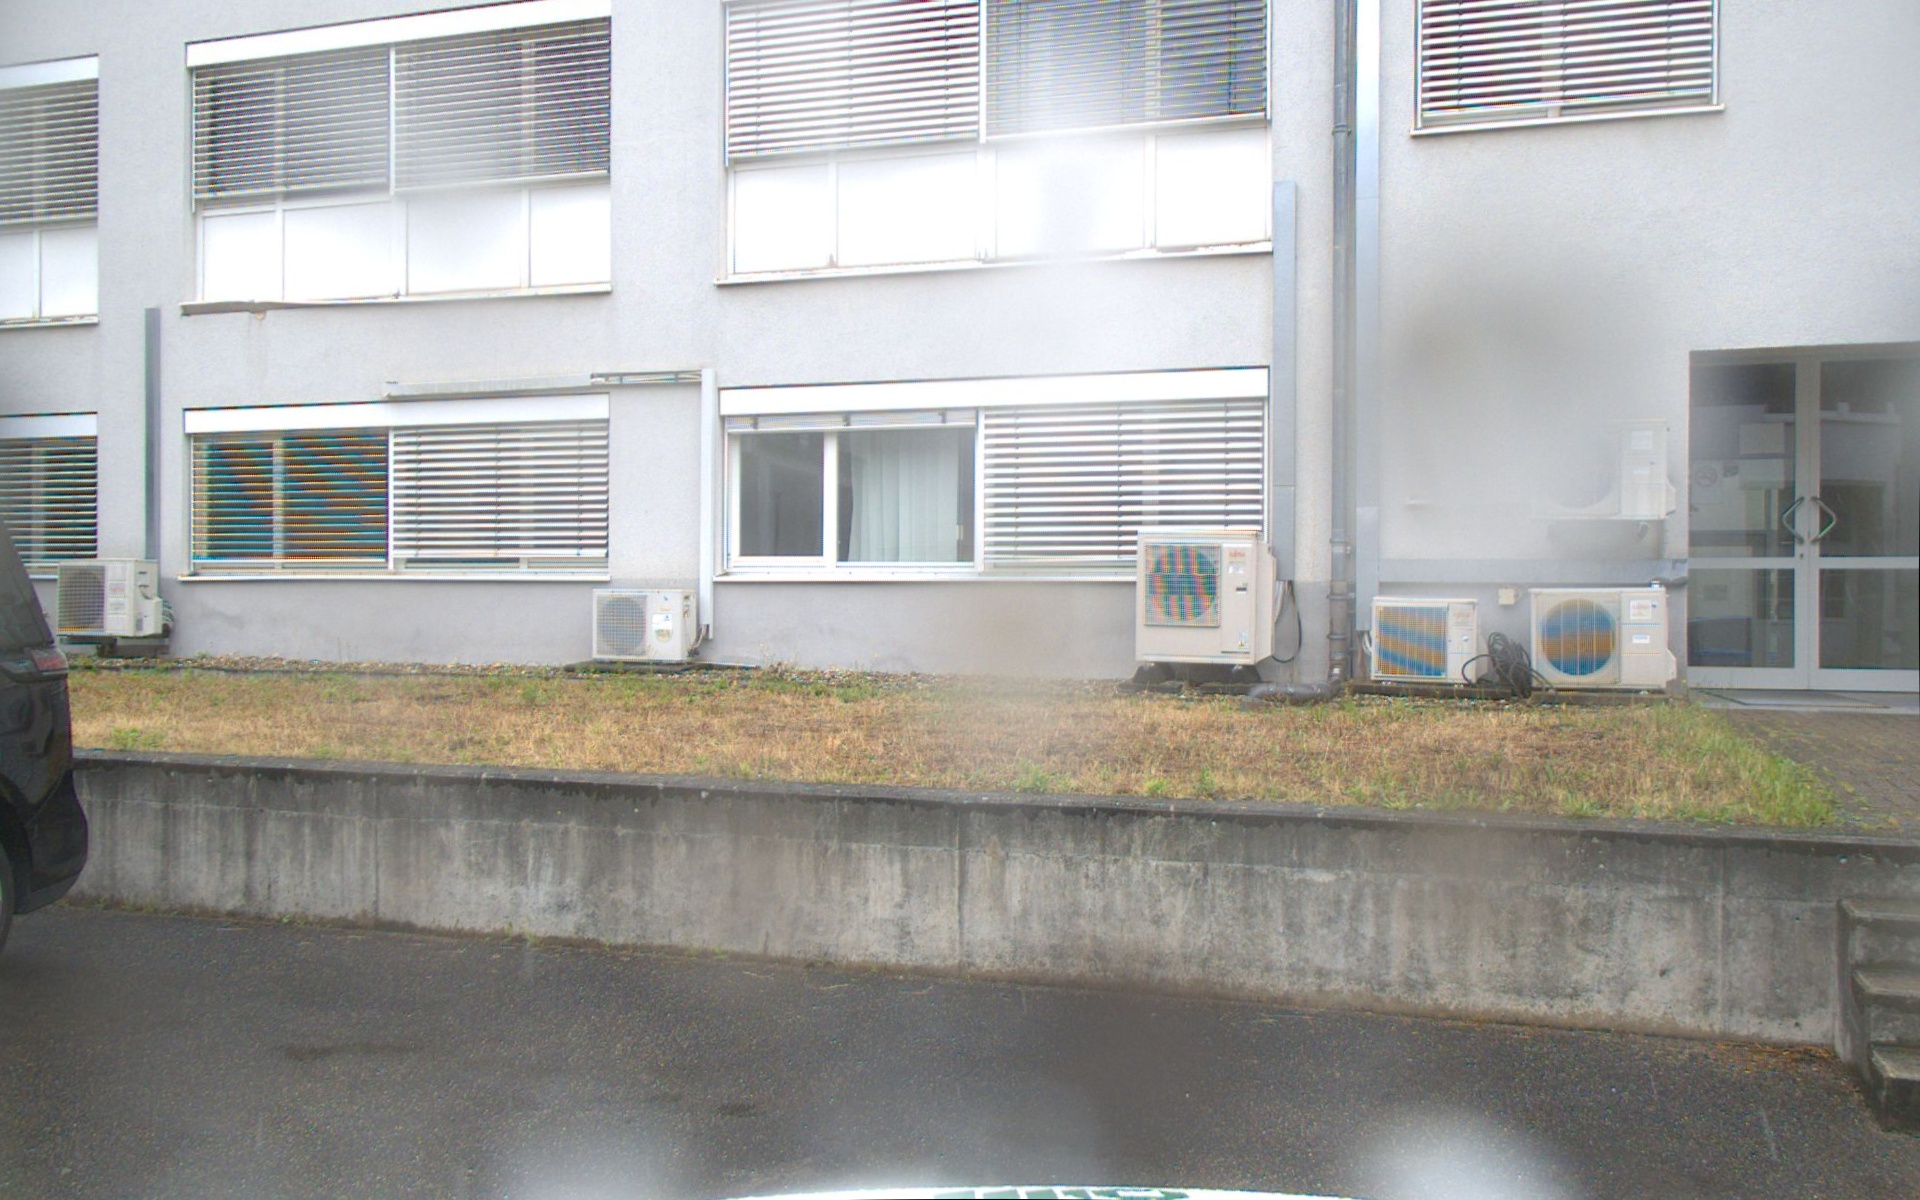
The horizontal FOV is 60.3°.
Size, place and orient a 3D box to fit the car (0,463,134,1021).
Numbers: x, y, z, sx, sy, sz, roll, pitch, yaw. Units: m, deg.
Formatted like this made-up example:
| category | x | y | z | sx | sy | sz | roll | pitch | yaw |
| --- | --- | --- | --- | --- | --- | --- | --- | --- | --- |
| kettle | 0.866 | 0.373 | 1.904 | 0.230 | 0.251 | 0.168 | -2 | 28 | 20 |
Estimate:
| category | x | y | z | sx | sy | sz | roll | pitch | yaw |
| --- | --- | --- | --- | --- | --- | --- | --- | --- | --- |
| car | -4.760 | 0.518 | 4.422 | 1.997 | 1.930 | 4.525 | -1 | 0 | 17 |
